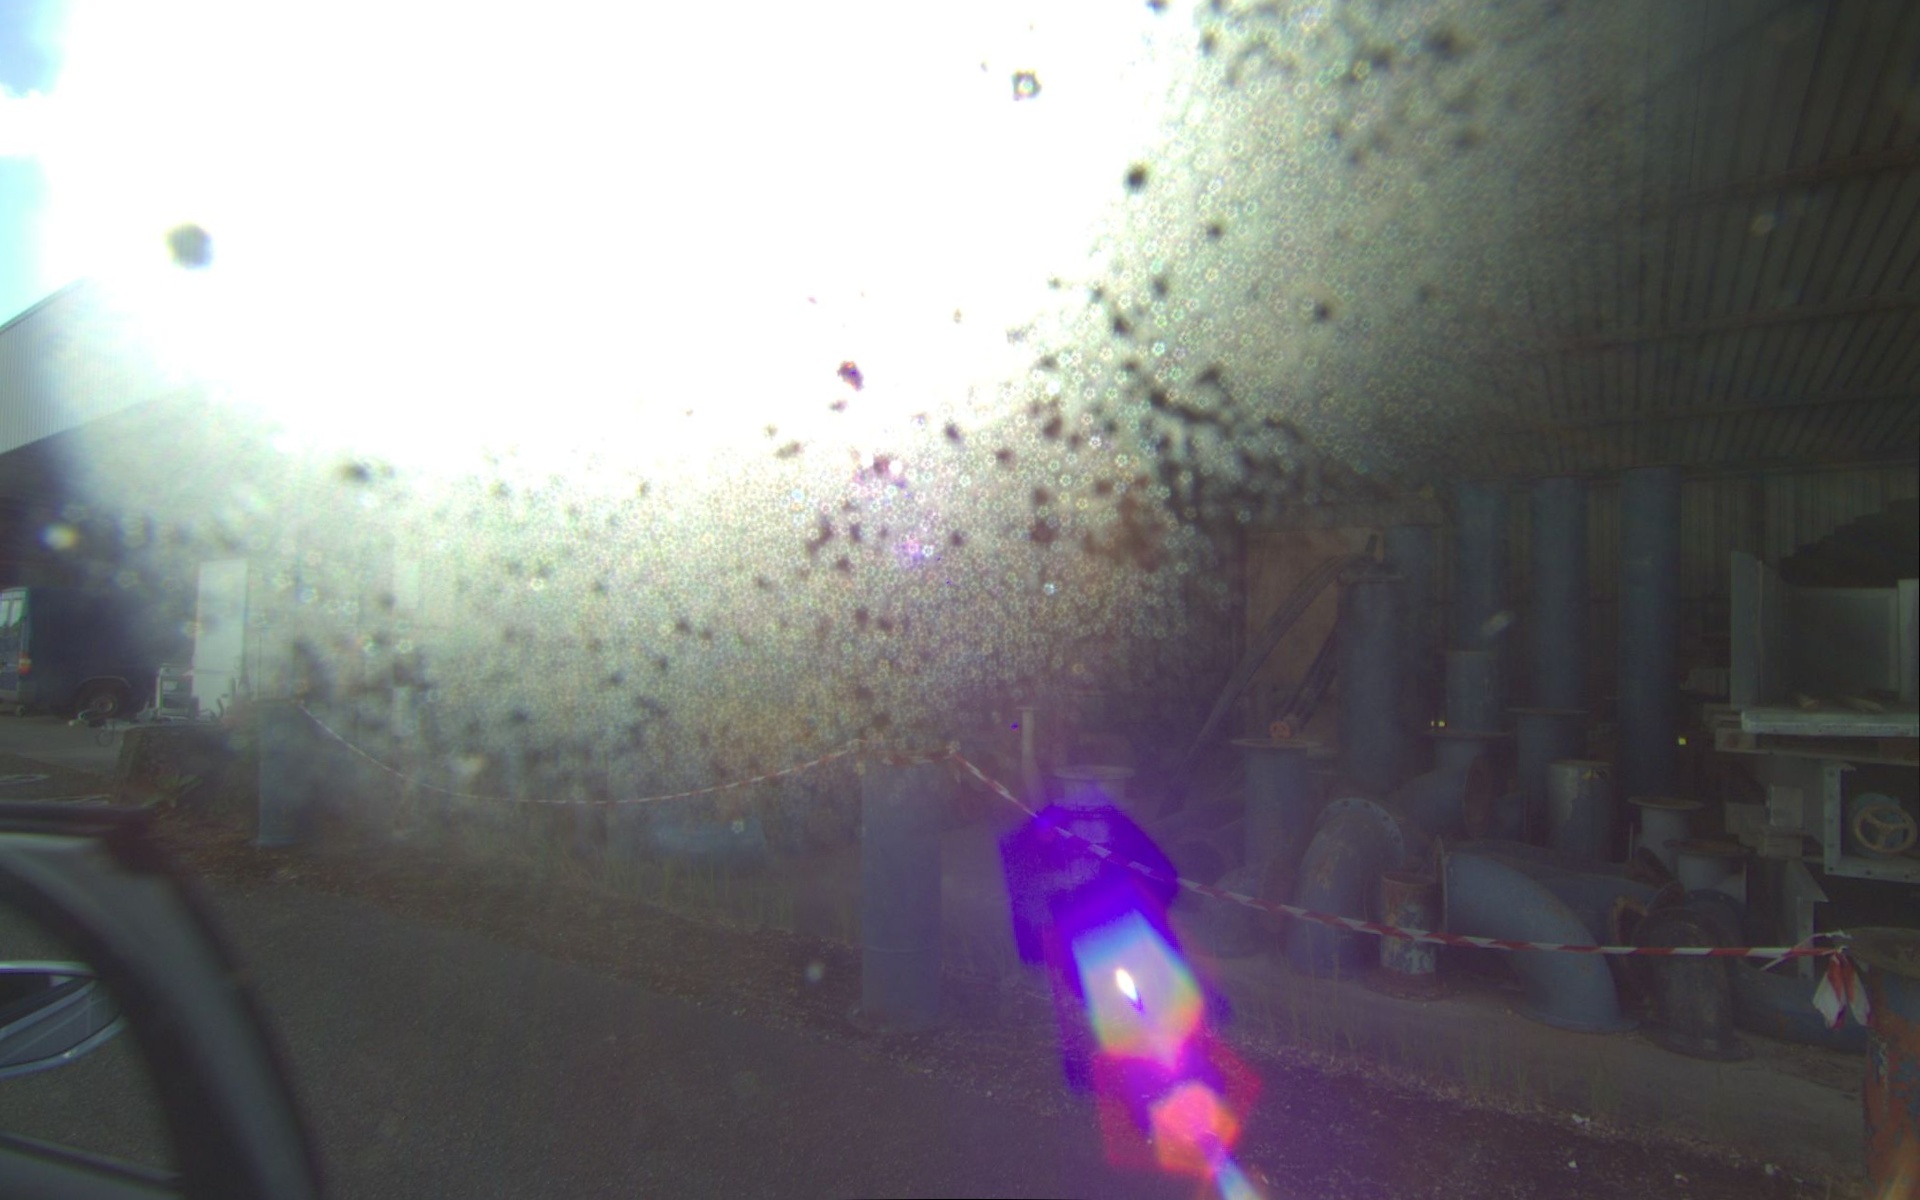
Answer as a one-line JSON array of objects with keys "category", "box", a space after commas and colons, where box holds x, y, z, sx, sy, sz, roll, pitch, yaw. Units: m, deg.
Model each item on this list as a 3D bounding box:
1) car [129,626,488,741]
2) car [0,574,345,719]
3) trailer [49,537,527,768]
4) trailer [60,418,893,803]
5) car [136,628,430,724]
[{"category": "car", "box": [-9.826, 1.206, 15.496, 1.751, 1.514, 4.324, -1, -3, 31]}, {"category": "car", "box": [-14.774, 0.898, 18.910, 1.973, 2.354, 4.969, -1, -3, 34]}, {"category": "trailer", "box": [-8.379, 0.669, 12.967, 1.804, 2.421, 4.796, -1, -3, 38]}, {"category": "trailer", "box": [-5.062, 0.318, 13.432, 2.814, 3.256, 10.018, -1, -3, 34]}, {"category": "car", "box": [-11.924, 1.300, 17.916, 1.761, 1.491, 3.985, -1, -3, 29]}]
